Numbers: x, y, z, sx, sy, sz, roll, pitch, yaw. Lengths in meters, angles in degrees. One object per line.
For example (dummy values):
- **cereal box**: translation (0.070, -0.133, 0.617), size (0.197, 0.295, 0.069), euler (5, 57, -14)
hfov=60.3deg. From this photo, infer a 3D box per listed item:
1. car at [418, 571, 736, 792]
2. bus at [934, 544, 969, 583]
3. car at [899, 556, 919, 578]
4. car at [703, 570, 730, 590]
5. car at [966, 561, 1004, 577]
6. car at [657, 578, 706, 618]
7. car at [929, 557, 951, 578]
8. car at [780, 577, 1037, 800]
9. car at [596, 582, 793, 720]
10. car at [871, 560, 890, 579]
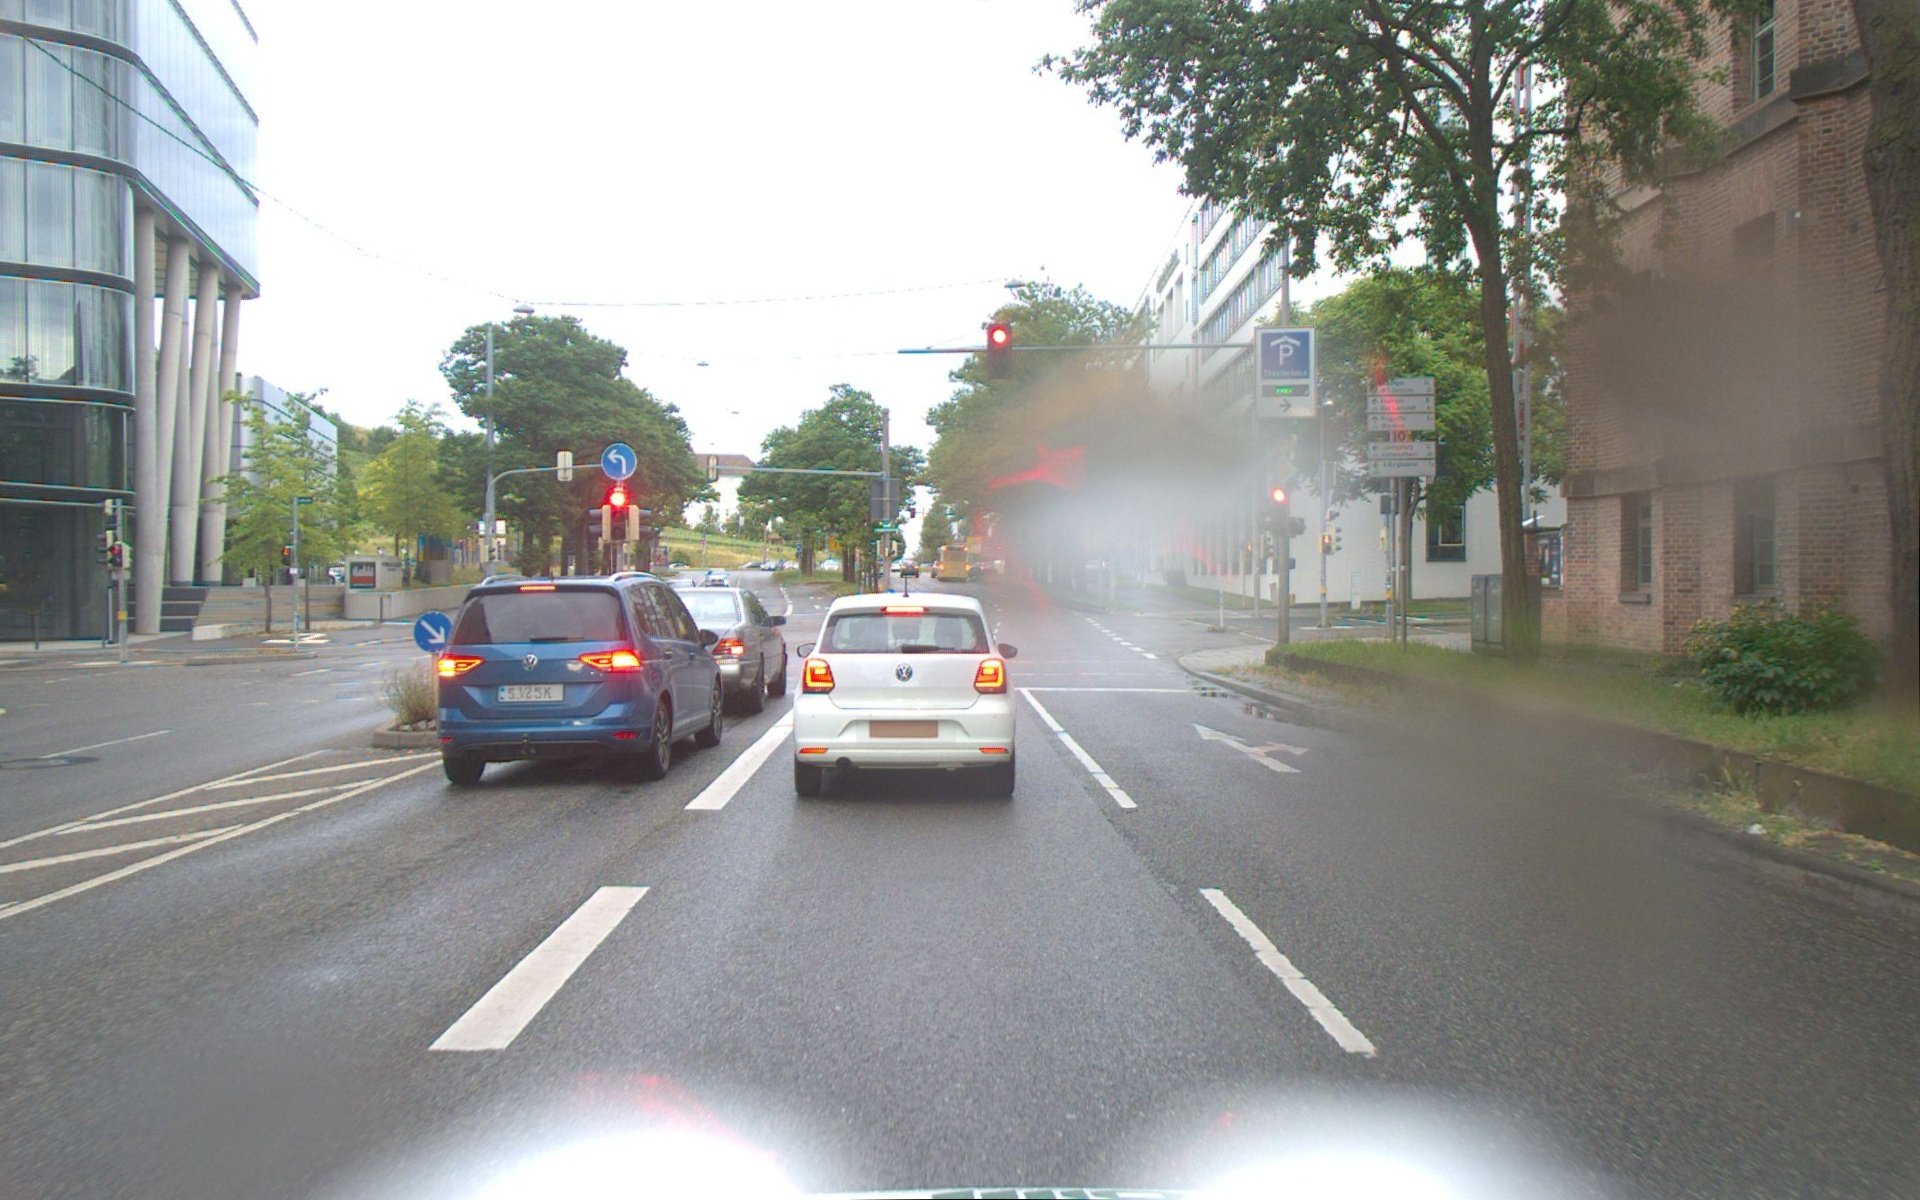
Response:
- **car**: translation (-3.152, 0.589, 14.497), size (1.736, 1.624, 4.198), euler (-1, 1, 1)
- **bus**: translation (-0.802, -3.326, 149.275), size (2.771, 3.323, 9.996), euler (0, 2, -3)
- **car**: translation (-4.996, -3.209, 161.744), size (1.954, 2.049, 3.998), euler (-1, 0, -3)
- **car**: translation (-19.073, -1.598, 129.537), size (1.779, 1.436, 4.651), euler (-2, 2, -5)
- **car**: translation (2.423, -2.996, 161.585), size (1.670, 1.542, 3.804), euler (0, 1, 42)
- **car**: translation (-11.618, -0.107, 69.277), size (1.716, 1.547, 3.813), euler (-1, 1, -5)
- **car**: translation (-1.991, -3.199, 162.721), size (1.954, 2.049, 3.998), euler (-1, 0, -3)
- **car**: translation (-0.403, 0.592, 13.370), size (1.758, 1.528, 3.999), euler (0, 0, -2)
- **car**: translation (-3.234, 0.559, 20.929), size (1.809, 1.537, 4.048), euler (-1, 1, 0)
- **car**: translation (-7.852, -3.021, 163.322), size (1.759, 1.772, 3.997), euler (-1, 1, -4)
